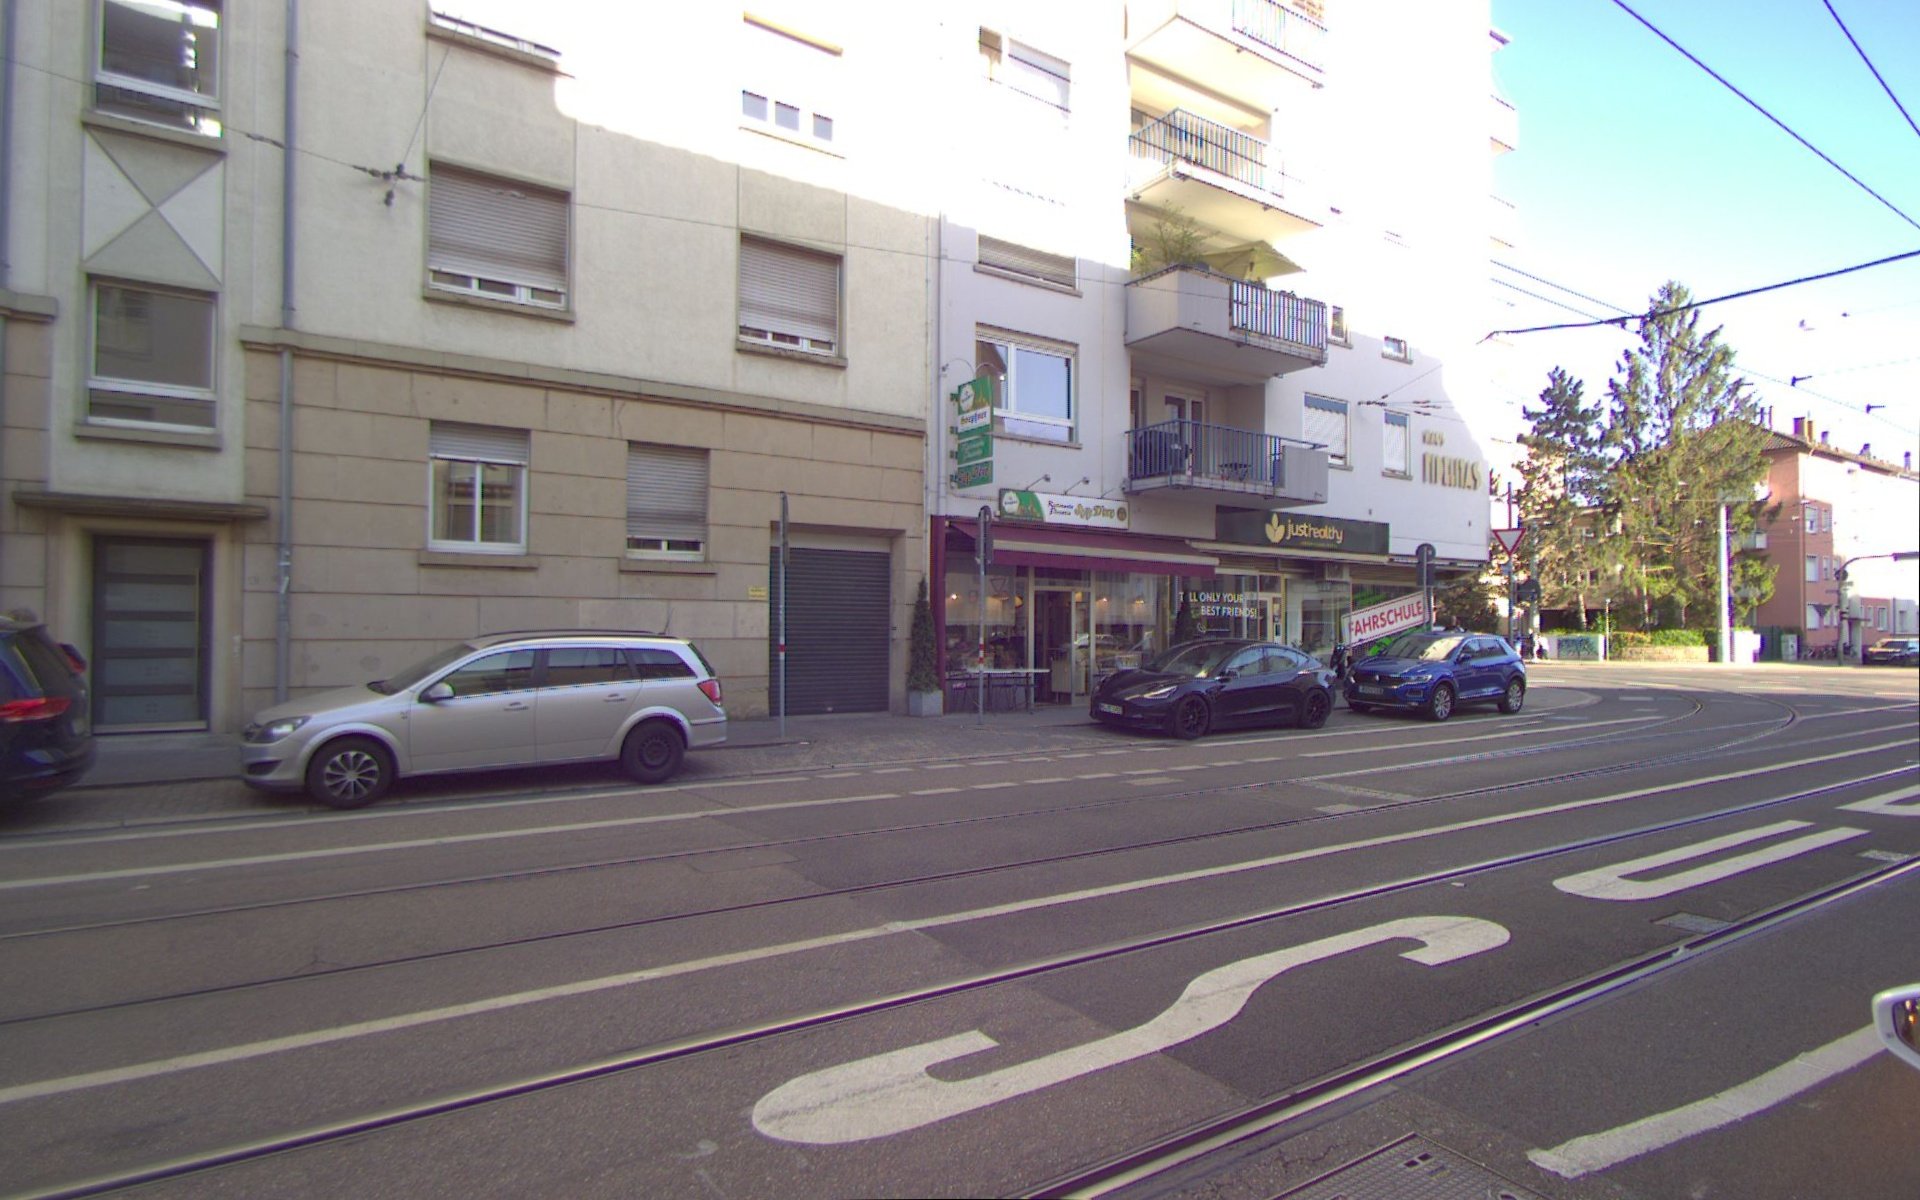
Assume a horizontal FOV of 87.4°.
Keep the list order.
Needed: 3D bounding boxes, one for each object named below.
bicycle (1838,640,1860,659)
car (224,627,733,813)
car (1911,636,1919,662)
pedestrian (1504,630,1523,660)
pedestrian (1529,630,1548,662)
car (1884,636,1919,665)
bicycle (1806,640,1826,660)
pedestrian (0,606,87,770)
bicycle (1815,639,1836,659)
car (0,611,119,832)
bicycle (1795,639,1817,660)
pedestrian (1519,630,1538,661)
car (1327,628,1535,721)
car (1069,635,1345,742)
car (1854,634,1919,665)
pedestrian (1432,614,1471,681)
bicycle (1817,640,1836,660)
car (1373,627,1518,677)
[{"bbox_3d":[53.156,2.942,60.026,1.892,1.097,0.605,1,-2,-37],"label":"bicycle"},{"bbox_3d":[-4.707,1.044,10.211,4.343,1.497,1.785,1,-1,-34],"label":"car"},{"bbox_3d":[58.126,2.902,59.453,3.961,1.539,1.938,1,-2,-36],"label":"car"},{"bbox_3d":[31.658,2.553,57.459,0.800,1.725,0.676,-1,-2,44],"label":"pedestrian"},{"bbox_3d":[31.295,2.464,54.338,0.798,1.725,0.604,-1,-2,37],"label":"pedestrian"},{"bbox_3d":[54.272,2.845,57.014,4.006,1.539,1.938,1,-2,-36],"label":"car"},{"bbox_3d":[47.177,2.738,55.341,1.895,1.097,0.532,2,-2,-41],"label":"bicycle"},{"bbox_3d":[-9.134,0.845,9.899,0.686,1.562,0.565,1,-2,-32],"label":"pedestrian"},{"bbox_3d":[50.739,2.864,58.882,1.892,1.097,0.533,1,-2,-37],"label":"bicycle"},{"bbox_3d":[-8.994,0.874,7.189,4.343,1.620,1.785,1,-1,-34],"label":"car"},{"bbox_3d":[46.881,2.728,55.633,1.895,1.097,0.634,2,-2,-41],"label":"bicycle"},{"bbox_3d":[31.132,2.481,54.999,0.798,1.725,0.632,-1,-2,37],"label":"pedestrian"},{"bbox_3d":[8.991,1.342,19.083,4.072,1.525,1.714,1,1,-34],"label":"car"},{"bbox_3d":[4.012,1.311,16.040,4.442,1.422,1.714,1,1,-34],"label":"car"},{"bbox_3d":[49.724,2.620,53.784,3.961,1.539,1.938,1,-2,-36],"label":"car"},{"bbox_3d":[14.010,1.350,28.671,0.707,1.859,0.771,0,-1,-3],"label":"pedestrian"},{"bbox_3d":[47.604,2.750,55.166,1.895,1.097,0.532,2,-2,-41],"label":"bicycle"},{"bbox_3d":[17.674,1.865,36.773,1.774,1.706,4.507,1,-2,-34],"label":"car"}]
